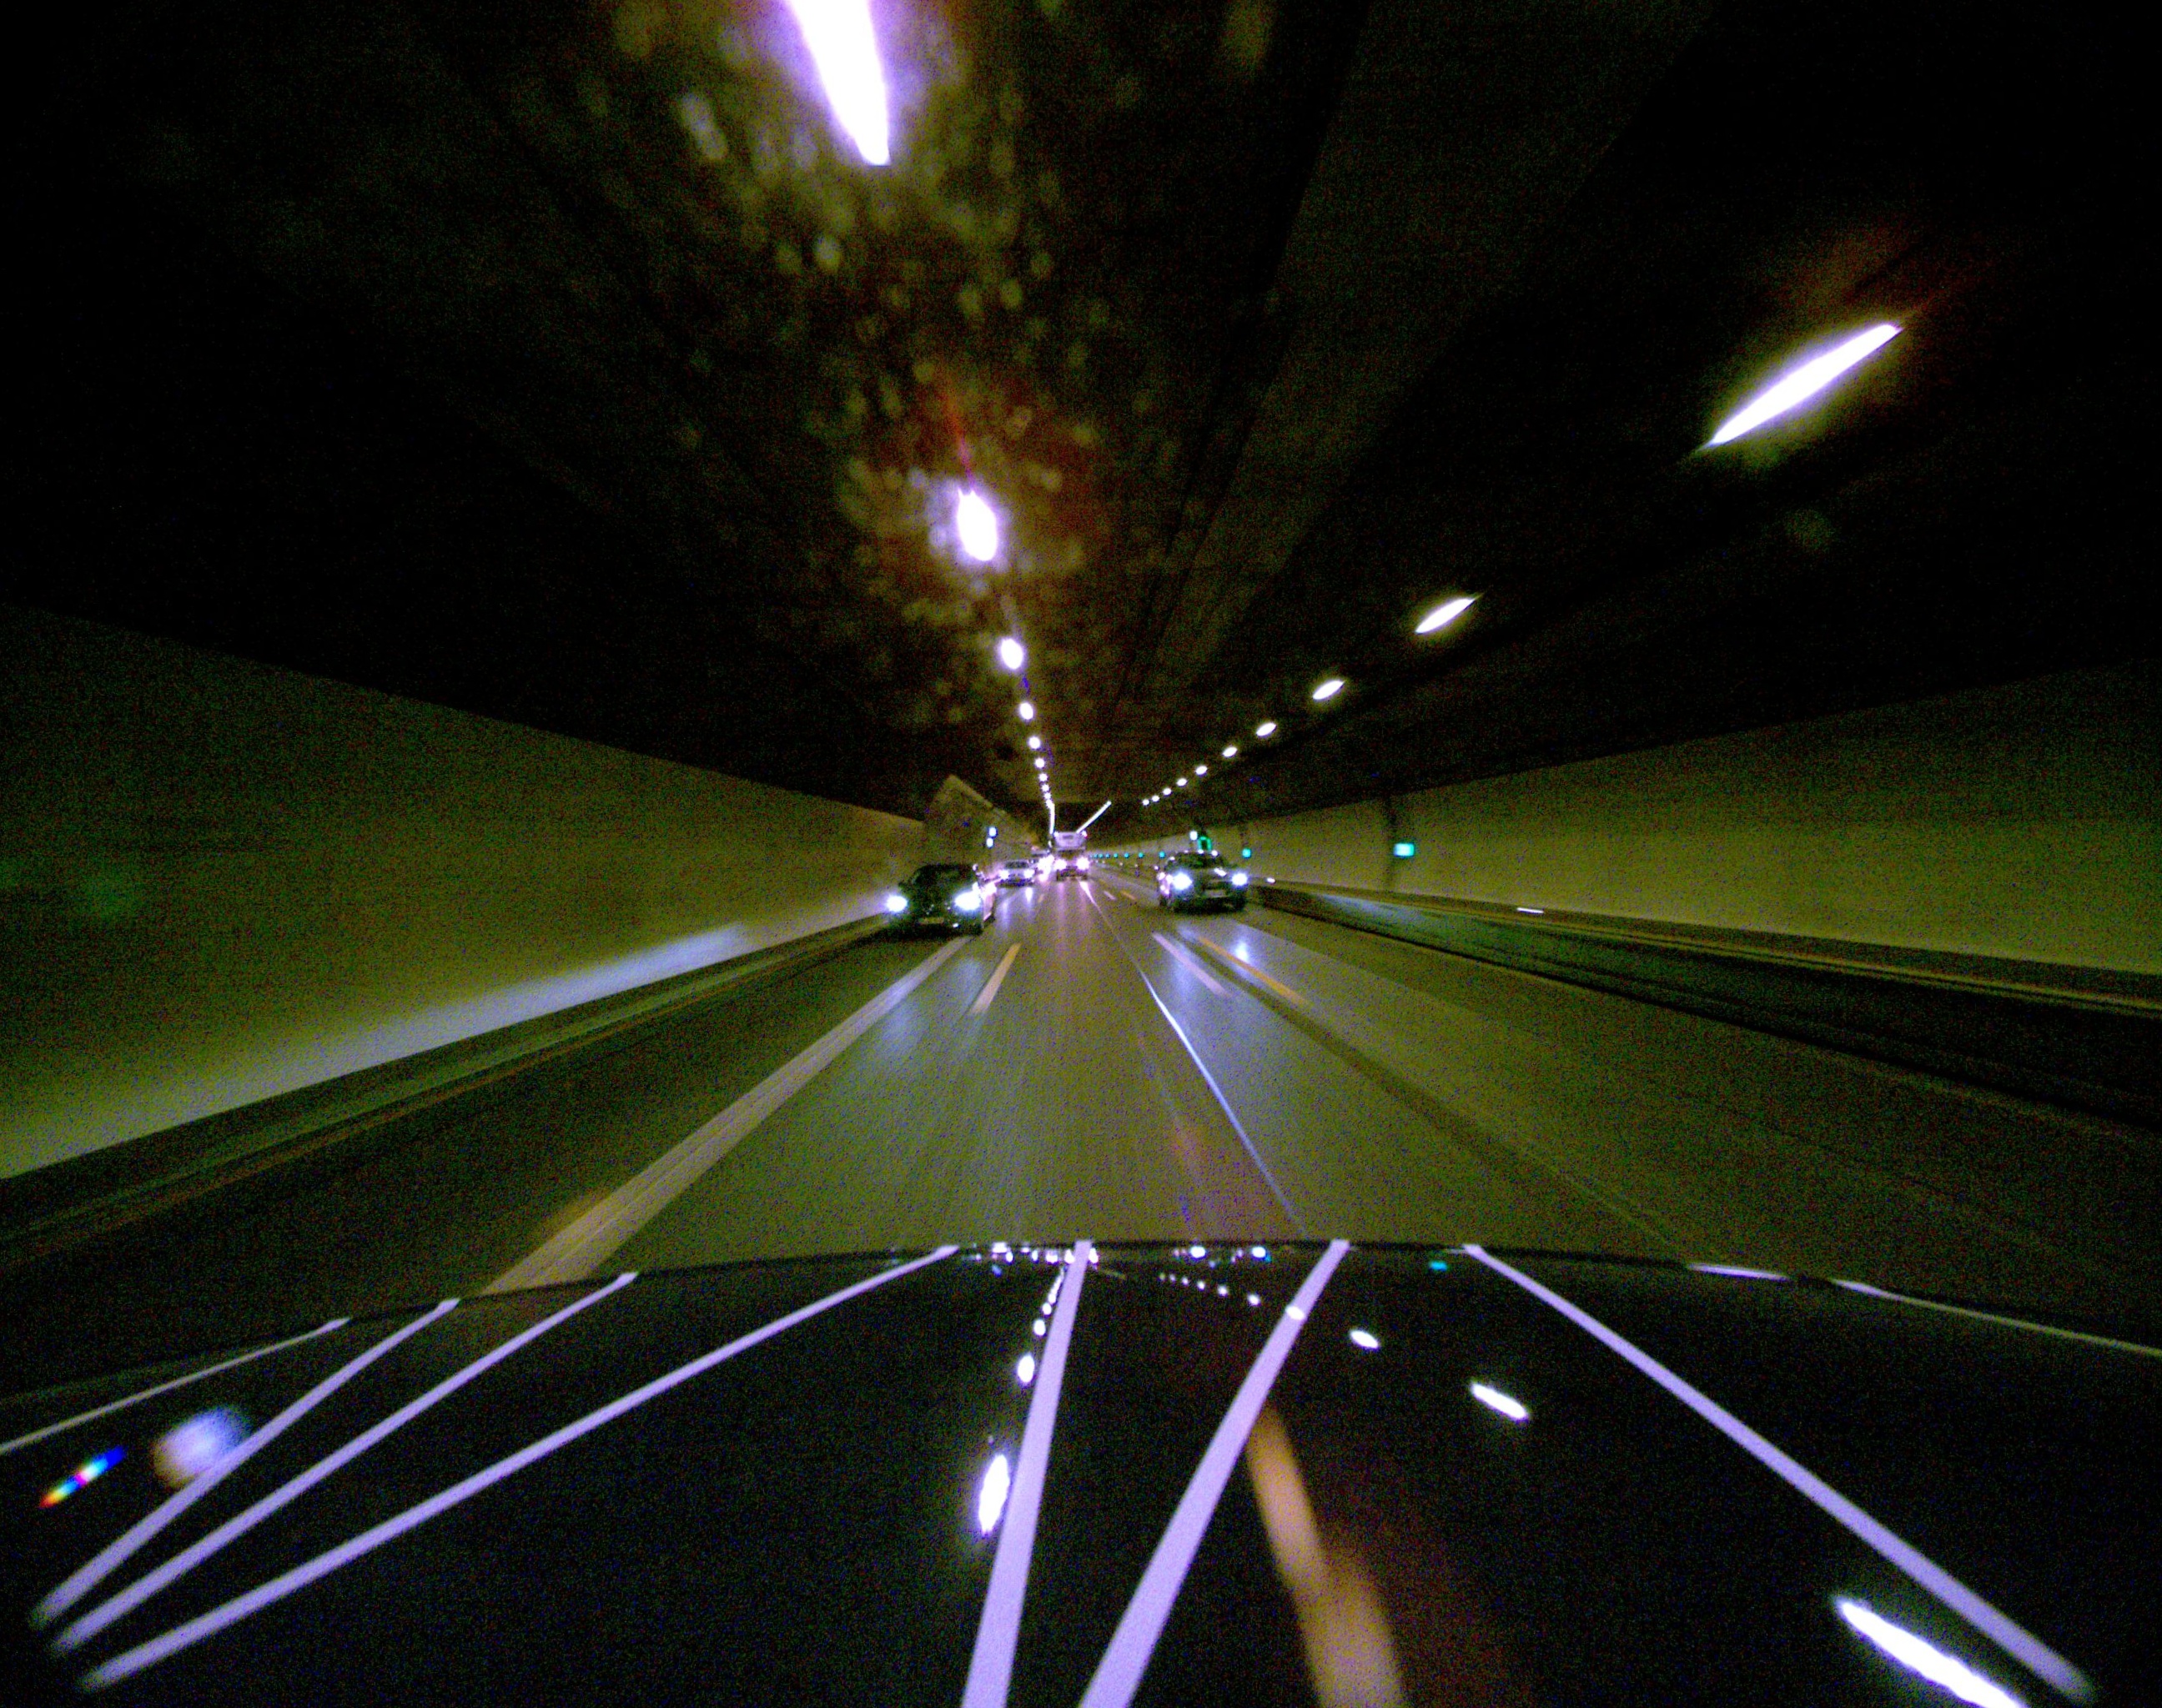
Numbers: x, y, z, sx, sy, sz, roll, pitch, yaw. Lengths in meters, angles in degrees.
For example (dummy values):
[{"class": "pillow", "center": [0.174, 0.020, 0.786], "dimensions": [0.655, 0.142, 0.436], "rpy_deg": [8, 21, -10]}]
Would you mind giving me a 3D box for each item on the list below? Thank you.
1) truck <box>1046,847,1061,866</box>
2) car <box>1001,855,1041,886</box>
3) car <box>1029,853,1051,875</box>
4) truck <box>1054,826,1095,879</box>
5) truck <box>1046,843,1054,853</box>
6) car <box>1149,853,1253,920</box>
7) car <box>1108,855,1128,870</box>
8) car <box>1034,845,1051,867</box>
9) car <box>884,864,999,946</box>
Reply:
[{"class": "truck", "center": [-4.764, 0.441, 131.455], "dimensions": [2.162, 3.098, 6.030], "rpy_deg": [-2, 1, 1]}, {"class": "car", "center": [-3.334, 0.877, 43.261], "dimensions": [1.999, 1.531, 4.741], "rpy_deg": [-2, 1, -2]}, {"class": "car", "center": [-4.012, 0.966, 73.679], "dimensions": [1.999, 2.002, 4.852], "rpy_deg": [-2, 0, -3]}, {"class": "truck", "center": [-0.535, -0.089, 52.305], "dimensions": [2.534, 3.314, 7.714], "rpy_deg": [-2, 0, -2]}, {"class": "truck", "center": [-10.743, -2.092, 261.533], "dimensions": [2.208, 3.449, 11.763], "rpy_deg": [-1, 0, -1]}, {"class": "car", "center": [3.134, 0.789, 20.865], "dimensions": [1.999, 1.531, 4.741], "rpy_deg": [-2, 1, -1]}, {"class": "car", "center": [4.064, 0.930, 84.093], "dimensions": [1.998, 1.531, 4.851], "rpy_deg": [-2, 1, 2]}, {"class": "car", "center": [-4.871, 0.205, 96.690], "dimensions": [1.999, 2.710, 6.272], "rpy_deg": [-2, 1, -2]}, {"class": "car", "center": [-2.935, 1.012, 16.968], "dimensions": [1.826, 1.469, 4.520], "rpy_deg": [-2, 0, -2]}]
